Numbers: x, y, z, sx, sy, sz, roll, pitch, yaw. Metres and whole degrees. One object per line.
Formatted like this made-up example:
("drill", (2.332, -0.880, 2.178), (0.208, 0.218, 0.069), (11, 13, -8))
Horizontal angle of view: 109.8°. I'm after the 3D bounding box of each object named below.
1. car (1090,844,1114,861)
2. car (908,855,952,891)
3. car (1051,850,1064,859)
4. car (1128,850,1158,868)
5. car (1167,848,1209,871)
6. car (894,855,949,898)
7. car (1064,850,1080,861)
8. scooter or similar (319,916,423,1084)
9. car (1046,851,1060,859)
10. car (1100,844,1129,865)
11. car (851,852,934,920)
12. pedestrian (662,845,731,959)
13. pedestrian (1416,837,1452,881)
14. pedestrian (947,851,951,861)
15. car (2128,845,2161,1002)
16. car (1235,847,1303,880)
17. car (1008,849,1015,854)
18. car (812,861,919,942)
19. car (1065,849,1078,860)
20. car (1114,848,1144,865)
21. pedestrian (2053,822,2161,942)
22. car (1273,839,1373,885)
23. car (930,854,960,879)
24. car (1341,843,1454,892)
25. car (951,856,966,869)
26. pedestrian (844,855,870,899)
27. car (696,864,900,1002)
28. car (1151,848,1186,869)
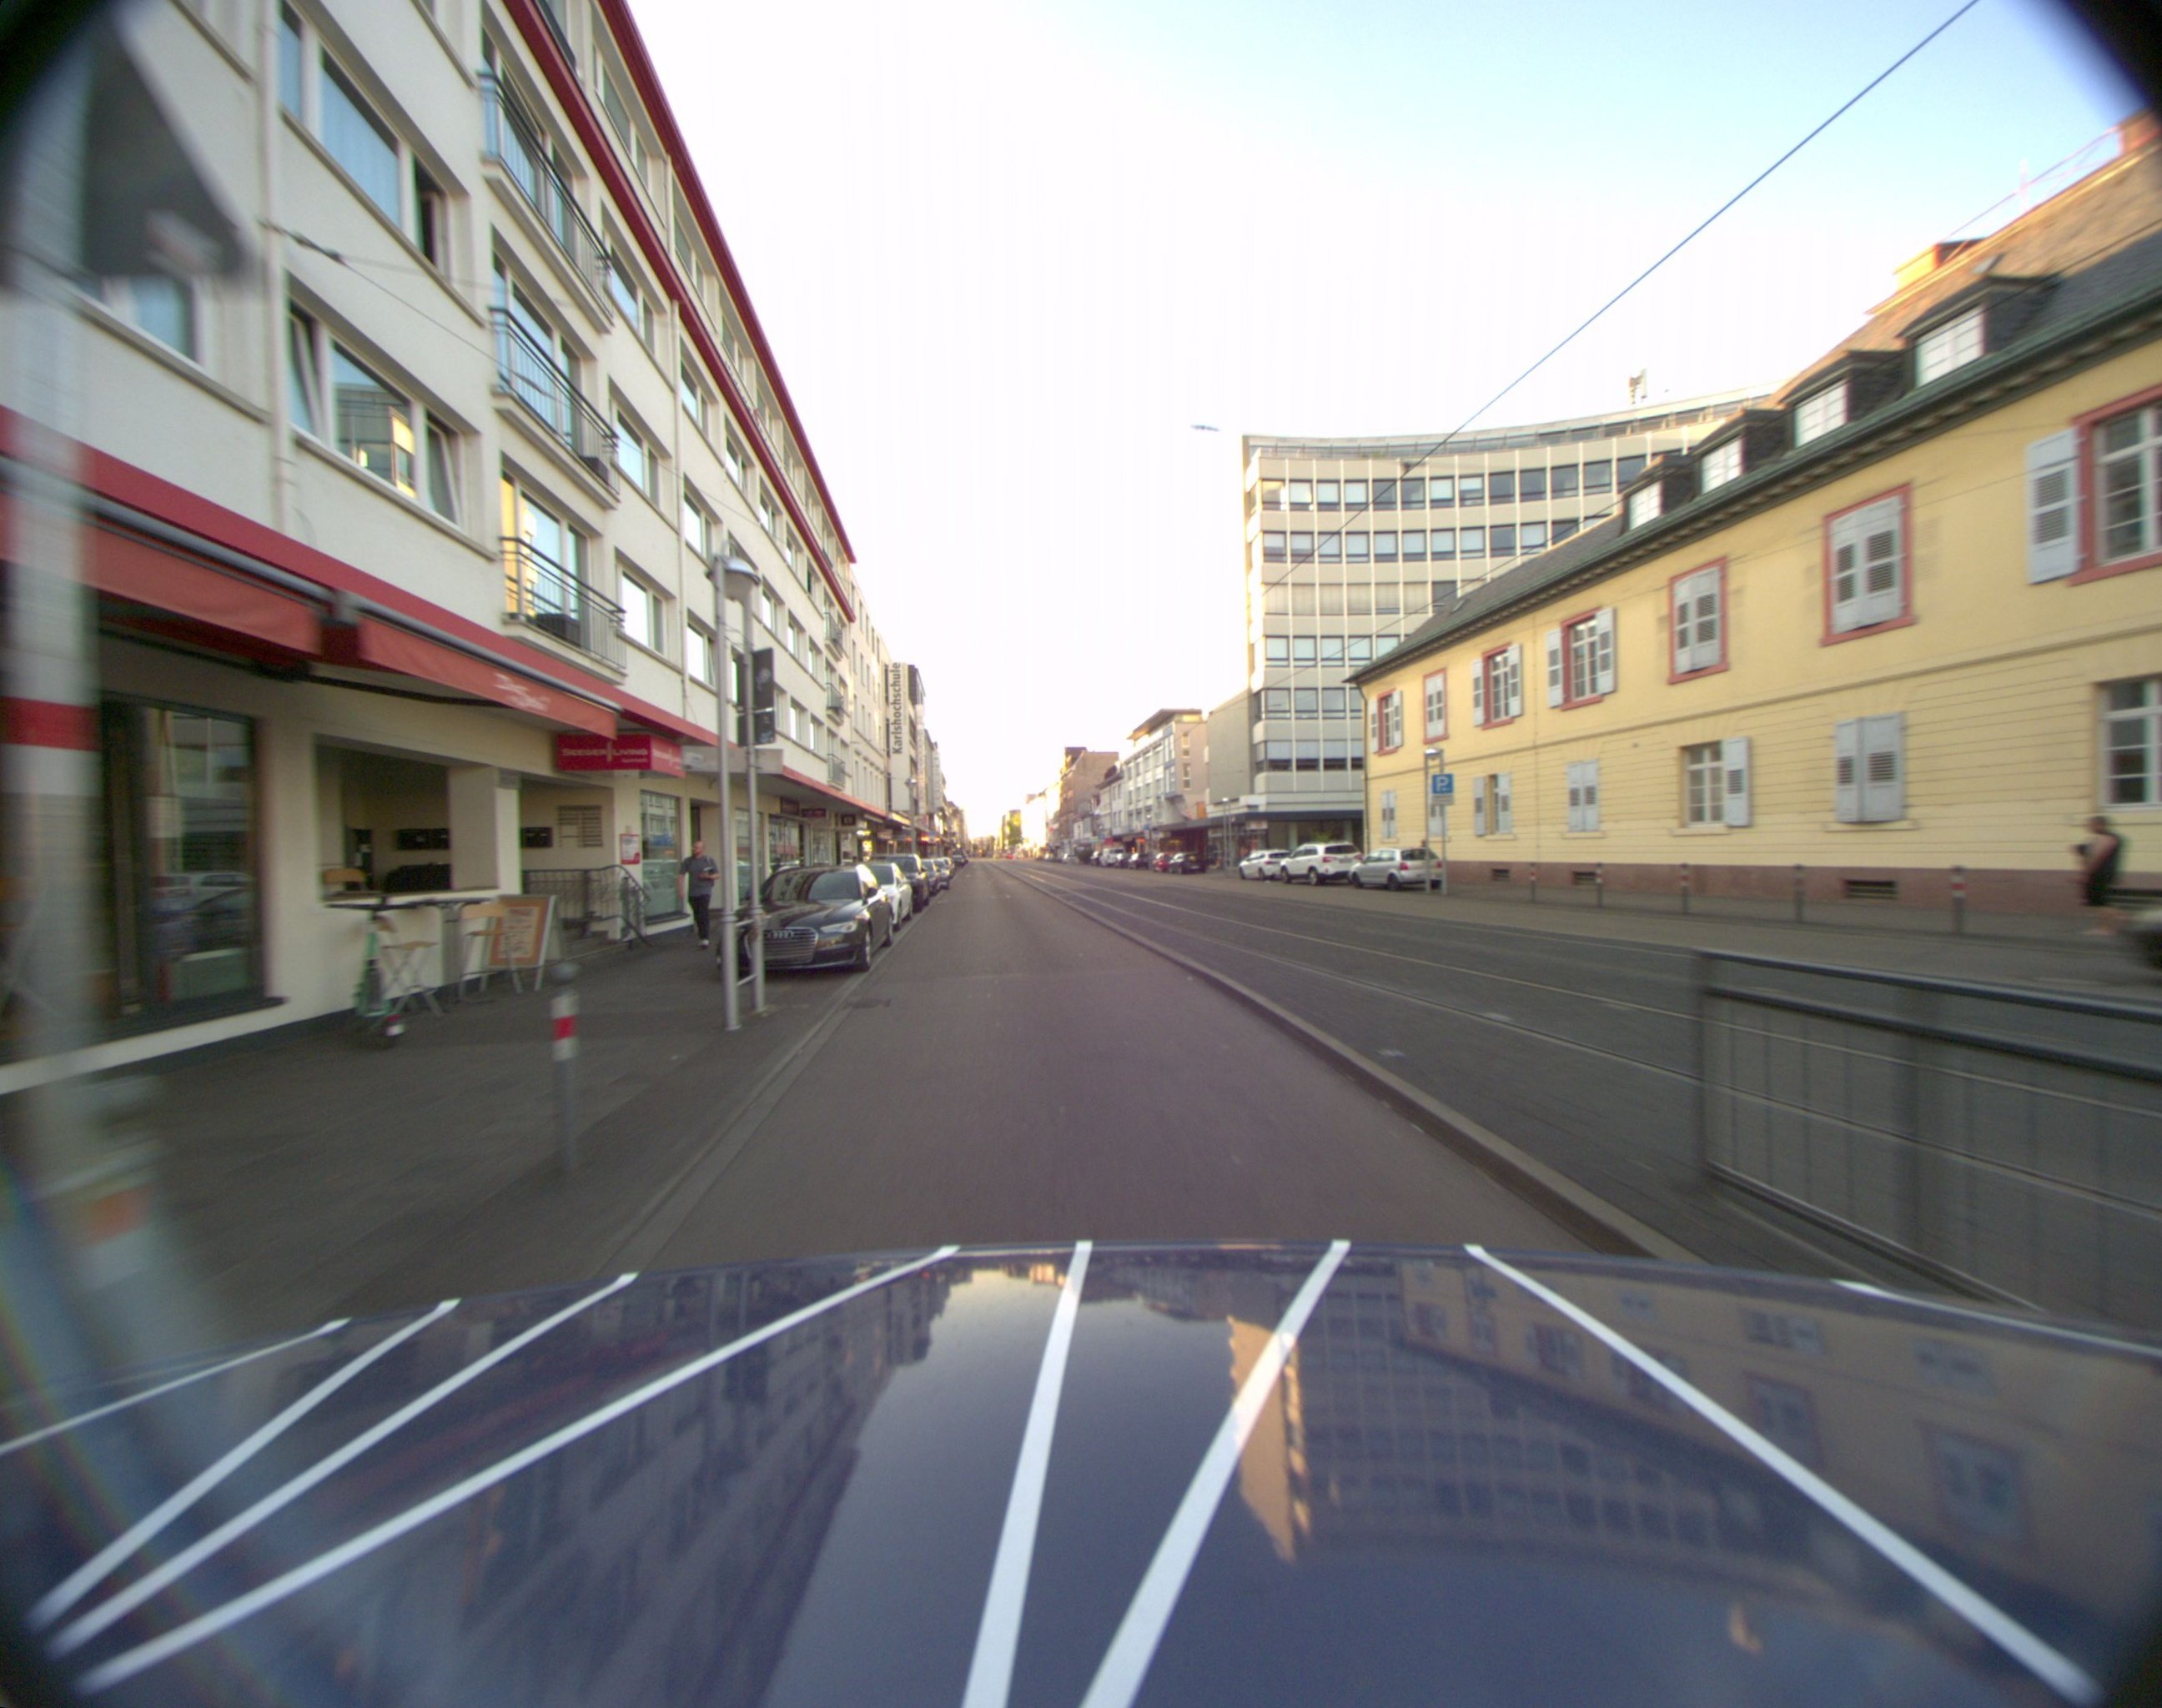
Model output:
("car", (2.330, -0.212, 85.910), (2.000, 1.688, 4.584), (-3, 1, -8))
("car", (-7.364, 0.875, 37.337), (1.797, 1.524, 4.852), (-3, 1, -9))
("car", (-4.138, 0.107, 134.891), (1.847, 1.484, 3.813), (-3, 1, -7))
("car", (5.365, 0.387, 65.817), (1.796, 1.452, 4.088), (-1, 0, -7))
("car", (7.186, 0.363, 51.388), (1.697, 1.417, 3.962), (-4, 1, -8))
("car", (-6.498, 0.868, 31.359), (1.786, 1.513, 4.353), (-3, 1, -7))
("car", (-1.386, 0.235, 114.044), (1.897, 1.547, 4.619), (-3, 1, -7))
("scooter or similar", (-5.880, 1.145, 6.269), (1.434, 1.187, 0.336), (-1, 1, 36))
("car", (-5.478, 0.201, 146.844), (2.000, 1.412, 4.399), (-3, 1, -10))
("car", (3.491, 0.002, 79.914), (1.970, 2.002, 5.095), (-3, 1, -9))
("car", (-5.490, 0.842, 22.645), (1.862, 1.691, 4.414), (-3, 1, -8))
("pedestrian", (-6.629, 0.795, 13.150), (0.777, 1.869, 0.934), (-1, 1, -9))
("pedestrian", (12.981, 0.166, 27.976), (0.802, 1.533, 0.877), (-3, 2, -6))
("pedestrian", (-23.627, 0.376, 136.130), (0.743, 1.746, 0.788), (1, 1, -11))
("car", (11.077, 0.598, 5.249), (1.774, 1.368, 4.215), (-2, 1, -21))
("car", (9.214, 0.418, 37.628), (1.726, 1.444, 4.280), (-3, 1, -8))
("car", (-21.689, -0.714, 236.965), (2.000, 1.554, 3.996), (-3, 1, -8))
("car", (-4.702, 0.951, 17.157), (1.656, 1.412, 4.187), (-3, 1, -8))
("car", (-1.441, 0.081, 119.048), (1.660, 1.562, 3.468), (-3, 1, -6))
("car", (4.541, 0.206, 72.496), (1.878, 1.418, 4.567), (-3, 1, -8))
("pedestrian", (13.740, 0.352, 10.124), (0.722, 1.527, 0.718), (-1, 1, -12))
("car", (9.884, 0.312, 31.431), (1.893, 1.651, 4.756), (-3, 1, -10))
("car", (-9.260, 0.828, 52.074), (1.771, 1.505, 4.068), (-3, 1, -8))
("car", (10.780, 0.432, 26.231), (1.754, 1.465, 3.997), (-3, 0, -8))
("car", (-15.632, 1.113, 96.967), (1.745, 1.532, 3.962), (-2, 1, -8))
("pedestrian", (-8.299, 0.834, 28.138), (0.735, 1.565, 0.966), (-2, 1, -8))
("car", (-3.902, 0.963, 11.354), (1.795, 1.405, 4.683), (-3, 1, -8))
("car", (6.455, 0.329, 56.275), (1.697, 1.426, 3.589), (-2, 0, -8))
